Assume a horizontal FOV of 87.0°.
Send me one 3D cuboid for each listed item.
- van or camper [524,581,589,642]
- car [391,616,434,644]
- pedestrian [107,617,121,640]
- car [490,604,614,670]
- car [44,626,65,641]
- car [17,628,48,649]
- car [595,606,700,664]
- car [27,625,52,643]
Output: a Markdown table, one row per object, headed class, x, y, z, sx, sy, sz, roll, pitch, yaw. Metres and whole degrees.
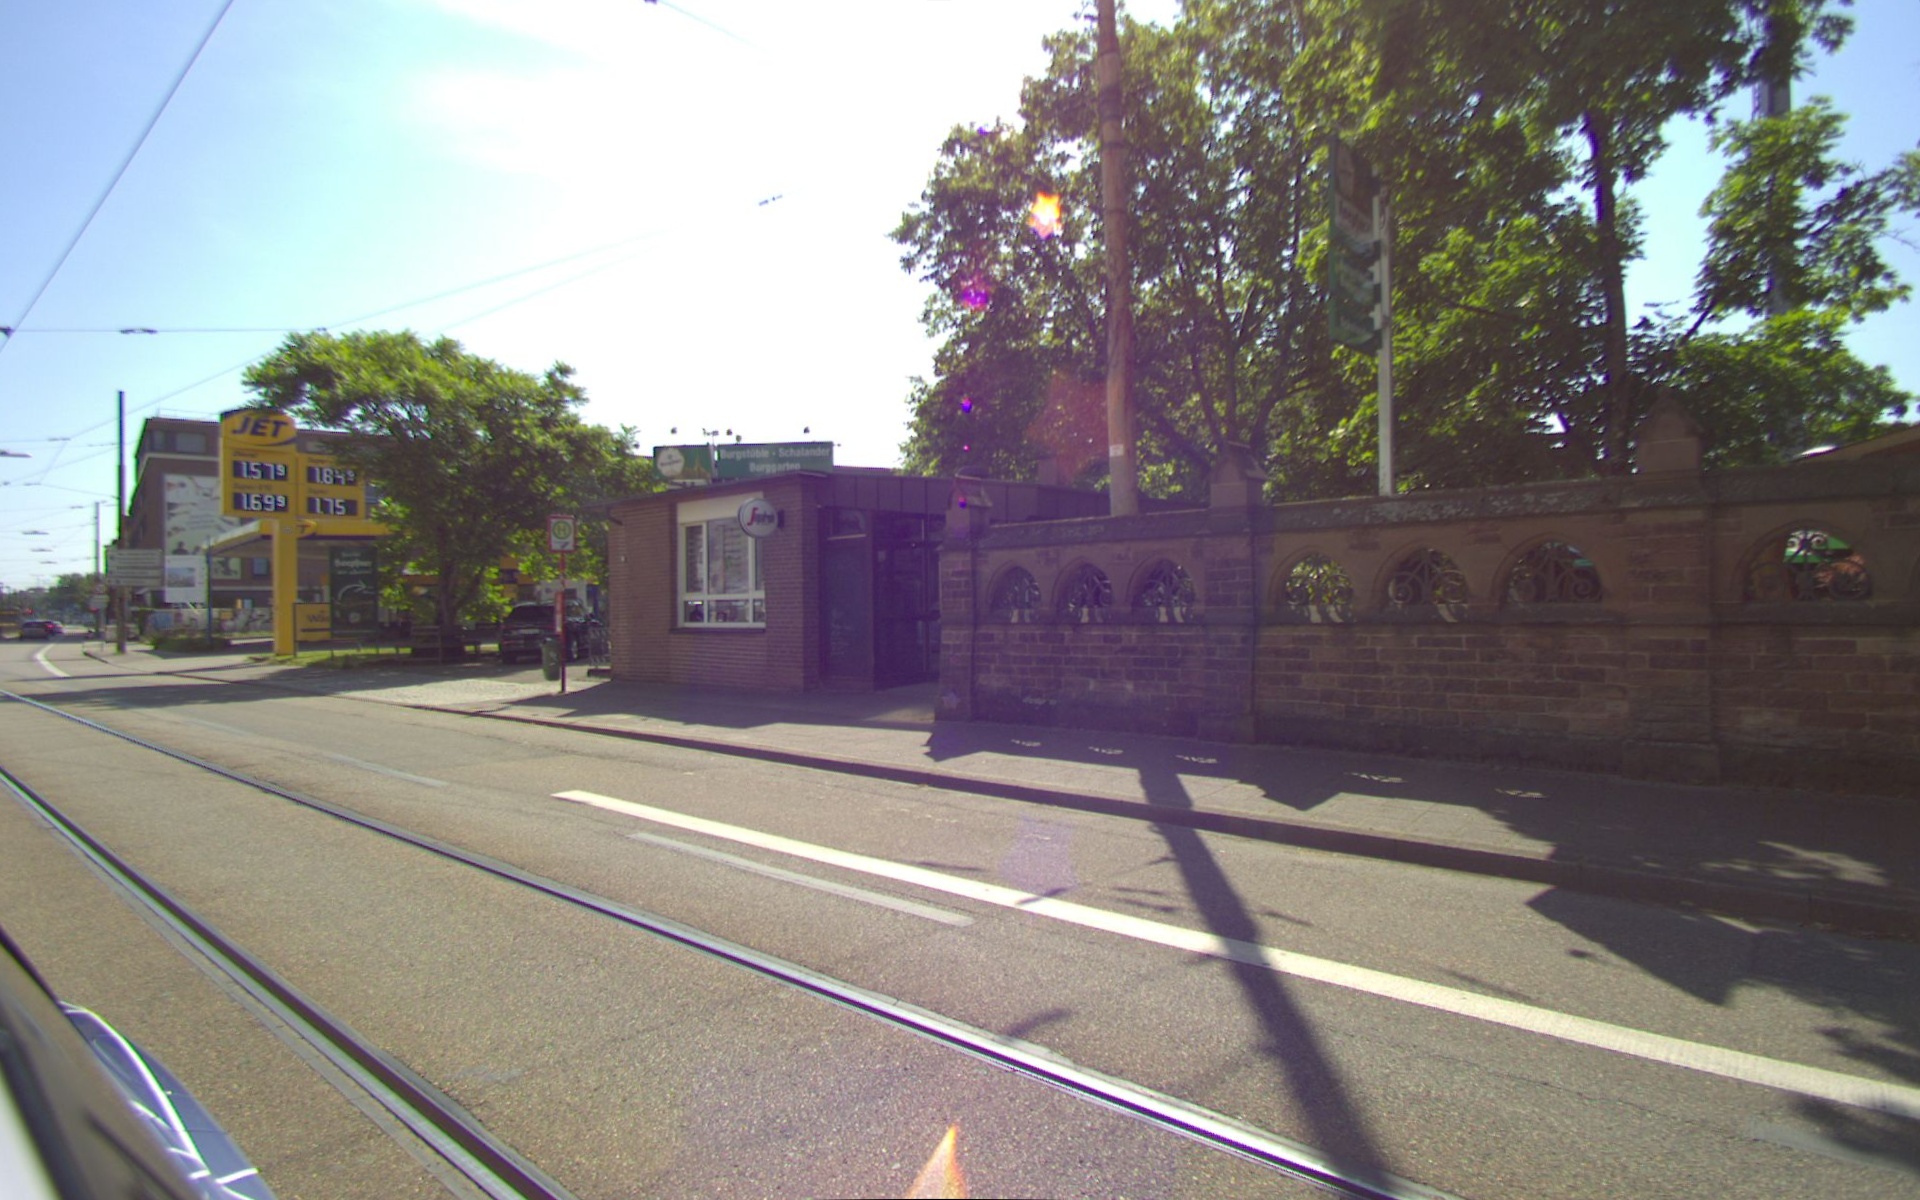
| class | x | y | z | sx | sy | sz | roll | pitch | yaw |
| --- | --- | --- | --- | --- | --- | --- | --- | --- | --- |
| van or camper | -22.034 | 0.574 | 55.115 | 2.572 | 2.989 | 6.735 | -4 | 2 | -27 |
| car | -29.346 | 1.597 | 54.358 | 1.673 | 1.313 | 4.405 | -3 | 1 | -24 |
| pedestrian | -69.523 | 2.351 | 83.148 | 0.834 | 1.833 | 0.840 | 0 | -1 | -41 |
| car | -11.232 | 0.968 | 28.203 | 1.920 | 1.637 | 4.583 | -1 | 0 | -5 |
| car | -103.927 | 3.872 | 116.155 | 1.691 | 1.634 | 3.584 | -2 | 0 | -41 |
| car | -72.977 | 3.010 | 79.623 | 1.725 | 1.583 | 3.895 | 1 | -1 | -43 |
| car | -8.805 | 0.930 | 28.889 | 1.920 | 1.479 | 4.583 | -1 | 0 | -5 |
| car | -94.482 | 3.501 | 103.916 | 1.779 | 1.742 | 4.195 | -2 | 0 | -41 |
